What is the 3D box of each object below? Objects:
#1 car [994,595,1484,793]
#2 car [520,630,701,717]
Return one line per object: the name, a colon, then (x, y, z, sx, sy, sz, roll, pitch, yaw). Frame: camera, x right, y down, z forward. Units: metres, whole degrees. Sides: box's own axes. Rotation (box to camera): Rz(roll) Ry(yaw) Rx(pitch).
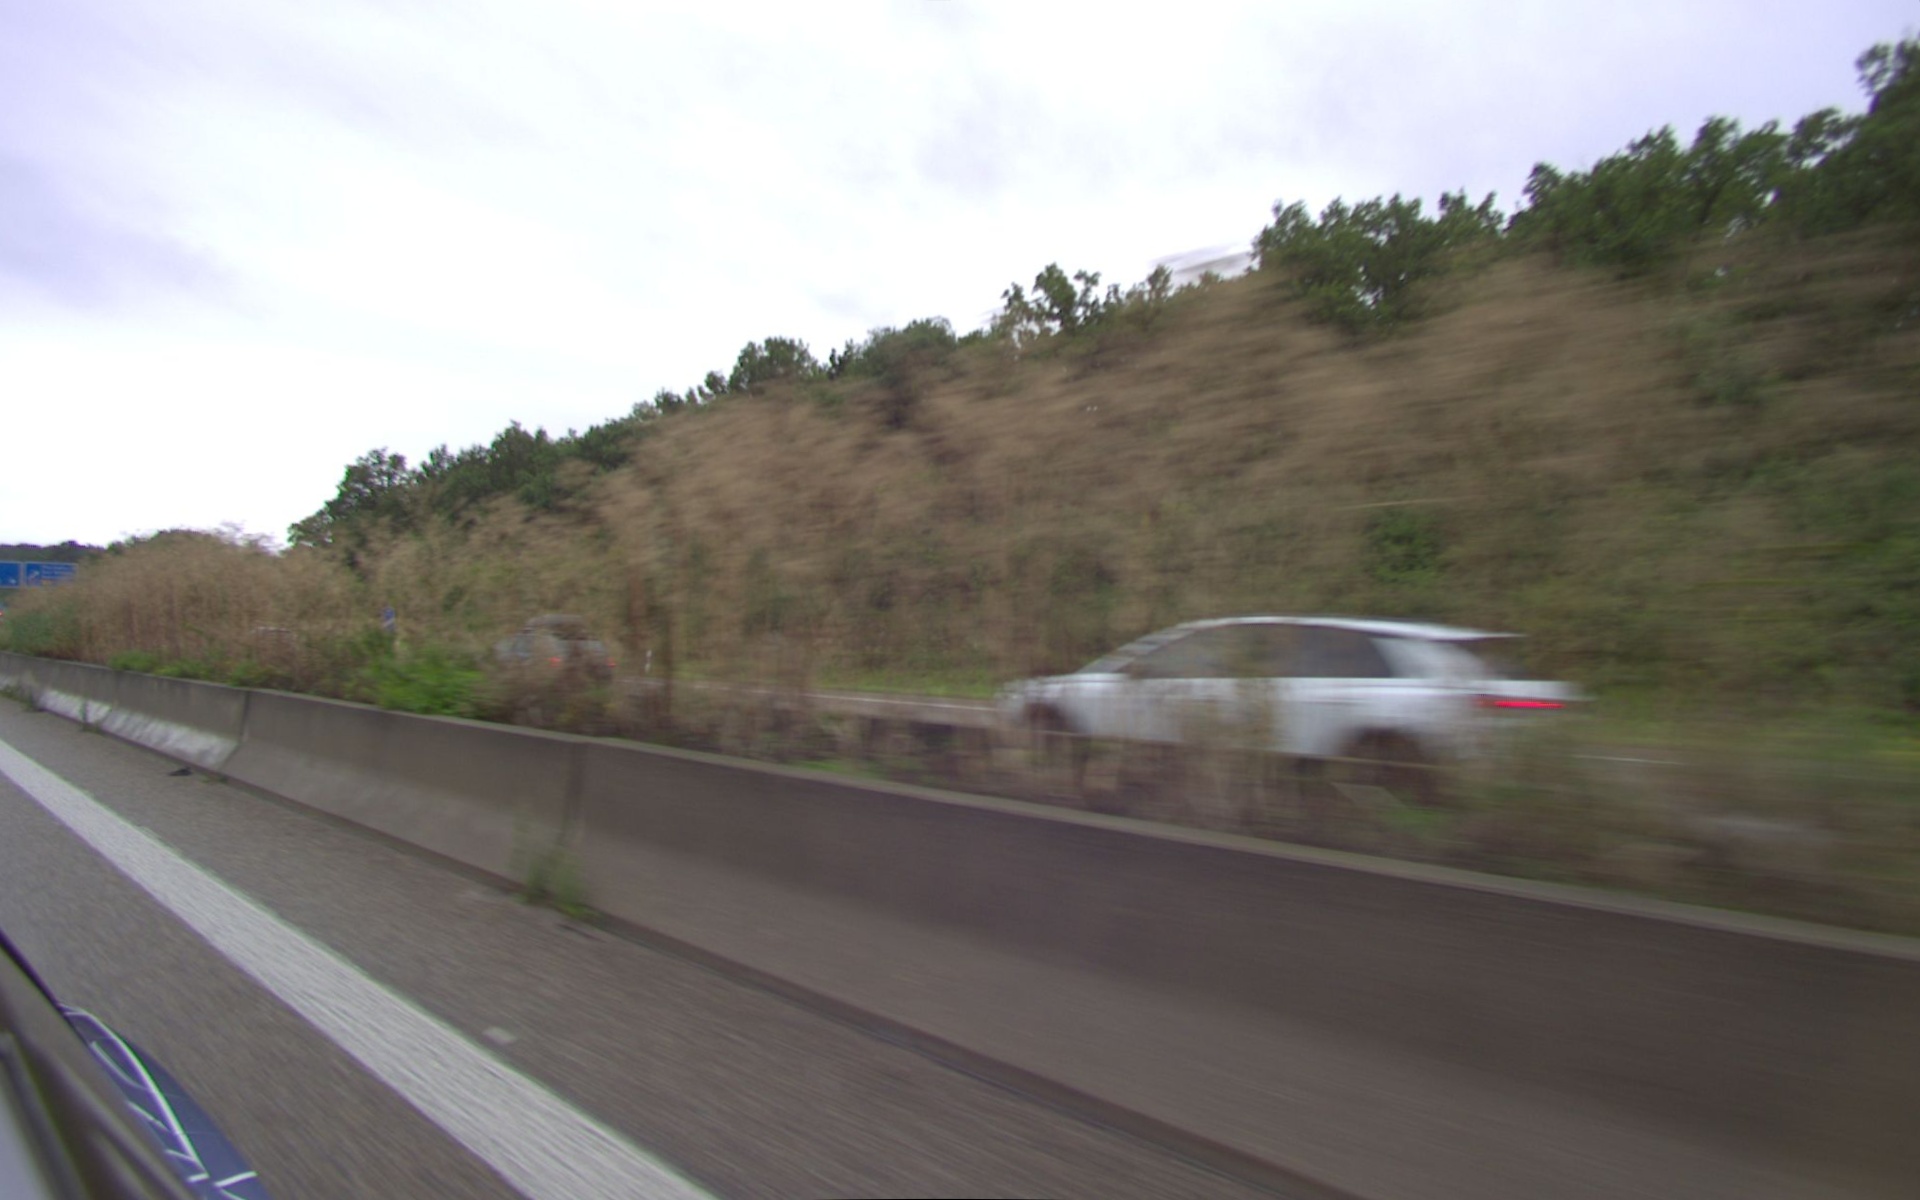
car: (2.115, 0.634, 8.149, 3.477, 1.247, 1.590, -1, -2, 41)
car: (-7.677, 1.516, 22.104, 3.997, 1.697, 1.973, -1, -2, 41)
